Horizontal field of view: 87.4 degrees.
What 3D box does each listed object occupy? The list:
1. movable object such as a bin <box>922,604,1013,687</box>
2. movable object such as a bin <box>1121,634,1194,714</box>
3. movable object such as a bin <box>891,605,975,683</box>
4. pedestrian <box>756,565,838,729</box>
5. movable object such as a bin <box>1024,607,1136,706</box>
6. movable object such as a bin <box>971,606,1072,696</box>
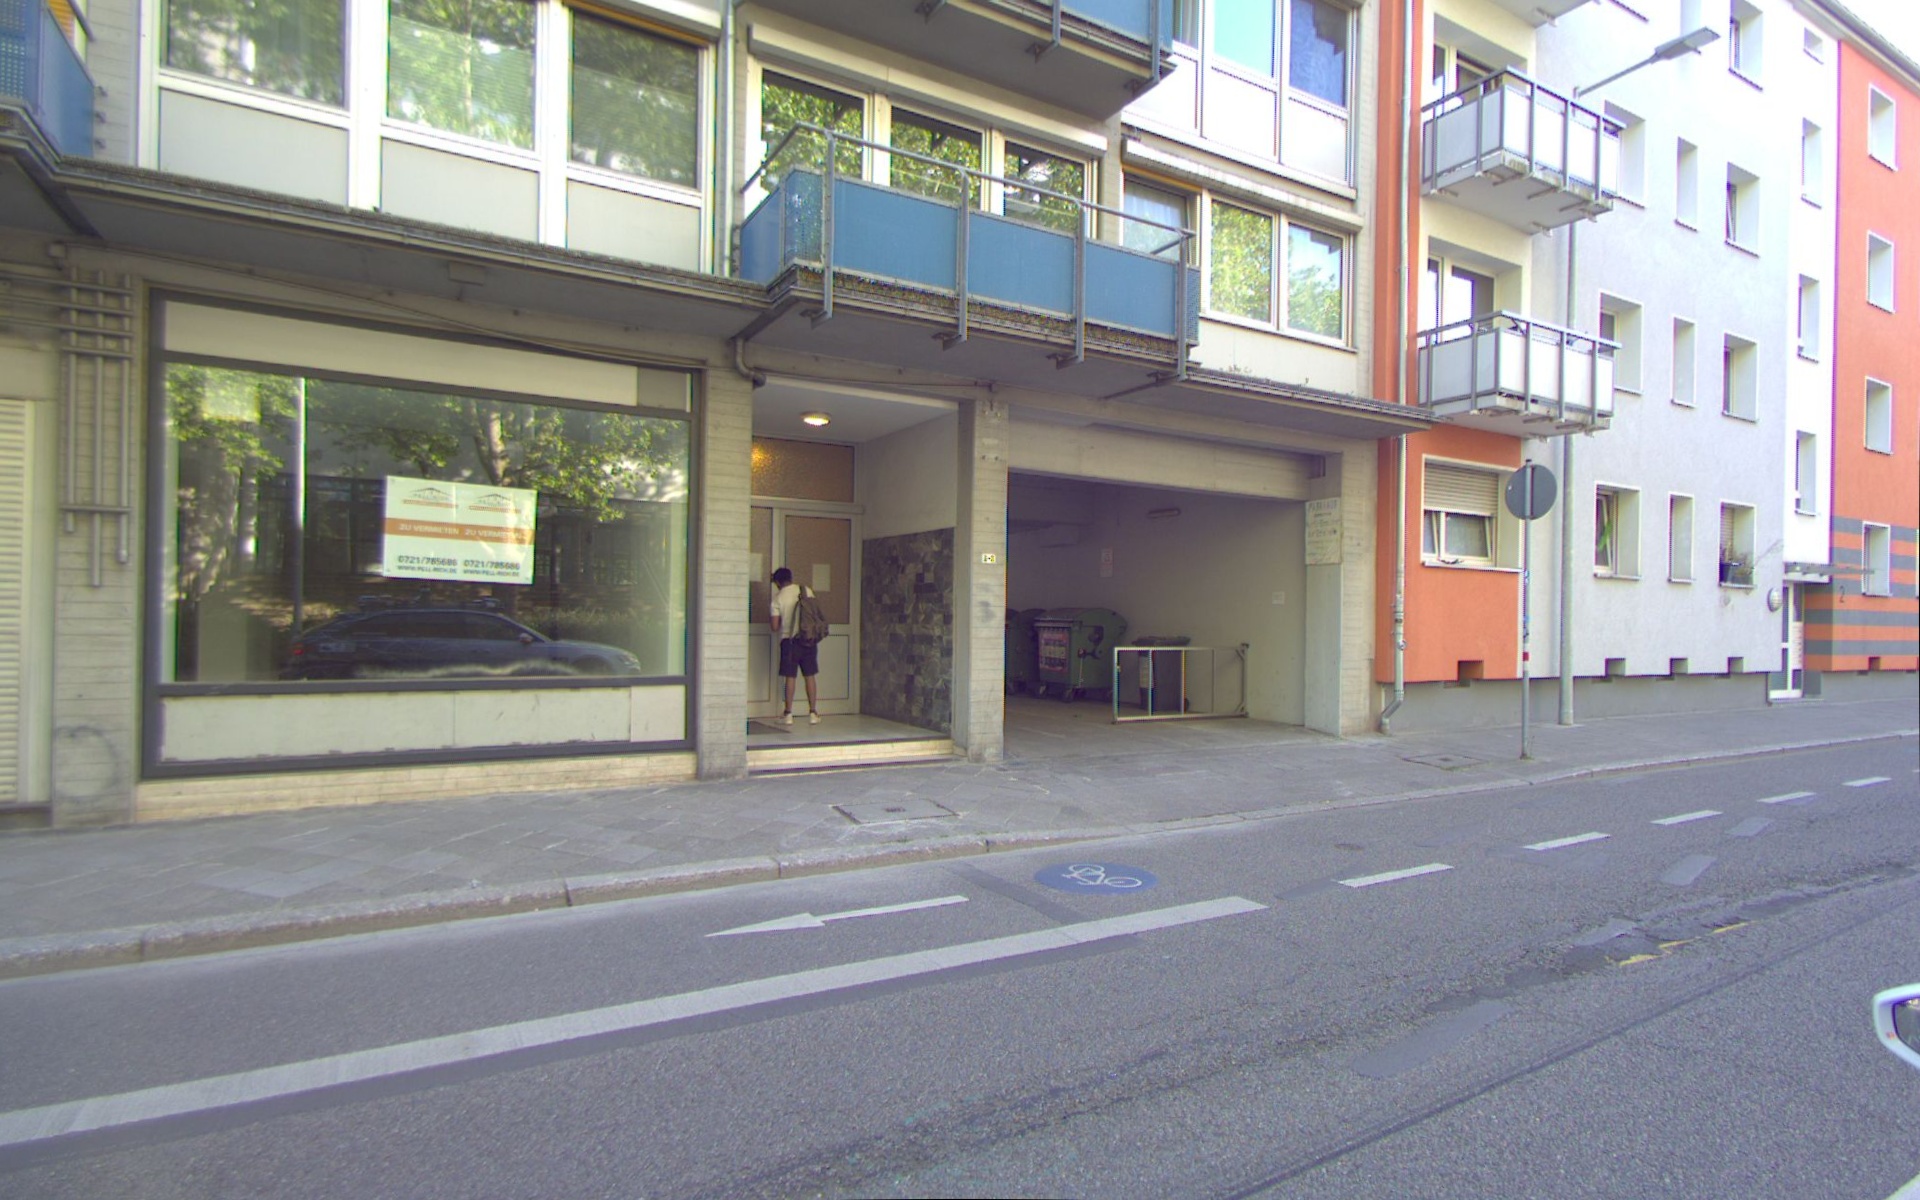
[{"bbox_3d":[0.121,0.828,18.766,1.182,1.452,1.300,2,0,-30],"label":"movable object such as a bin"},{"bbox_3d":[2.851,1.060,14.522,0.707,1.089,0.735,2,0,-30],"label":"movable object such as a bin"},{"bbox_3d":[-0.547,0.859,19.930,1.182,1.452,1.300,2,0,-30],"label":"movable object such as a bin"},{"bbox_3d":[-1.694,0.472,10.382,0.558,1.606,0.919,1,0,-28],"label":"pedestrian"},{"bbox_3d":[1.874,0.867,15.805,1.182,1.452,1.300,2,0,-30],"label":"movable object such as a bin"},{"bbox_3d":[1.034,0.848,17.191,1.182,1.452,1.300,2,0,-30],"label":"movable object such as a bin"}]
